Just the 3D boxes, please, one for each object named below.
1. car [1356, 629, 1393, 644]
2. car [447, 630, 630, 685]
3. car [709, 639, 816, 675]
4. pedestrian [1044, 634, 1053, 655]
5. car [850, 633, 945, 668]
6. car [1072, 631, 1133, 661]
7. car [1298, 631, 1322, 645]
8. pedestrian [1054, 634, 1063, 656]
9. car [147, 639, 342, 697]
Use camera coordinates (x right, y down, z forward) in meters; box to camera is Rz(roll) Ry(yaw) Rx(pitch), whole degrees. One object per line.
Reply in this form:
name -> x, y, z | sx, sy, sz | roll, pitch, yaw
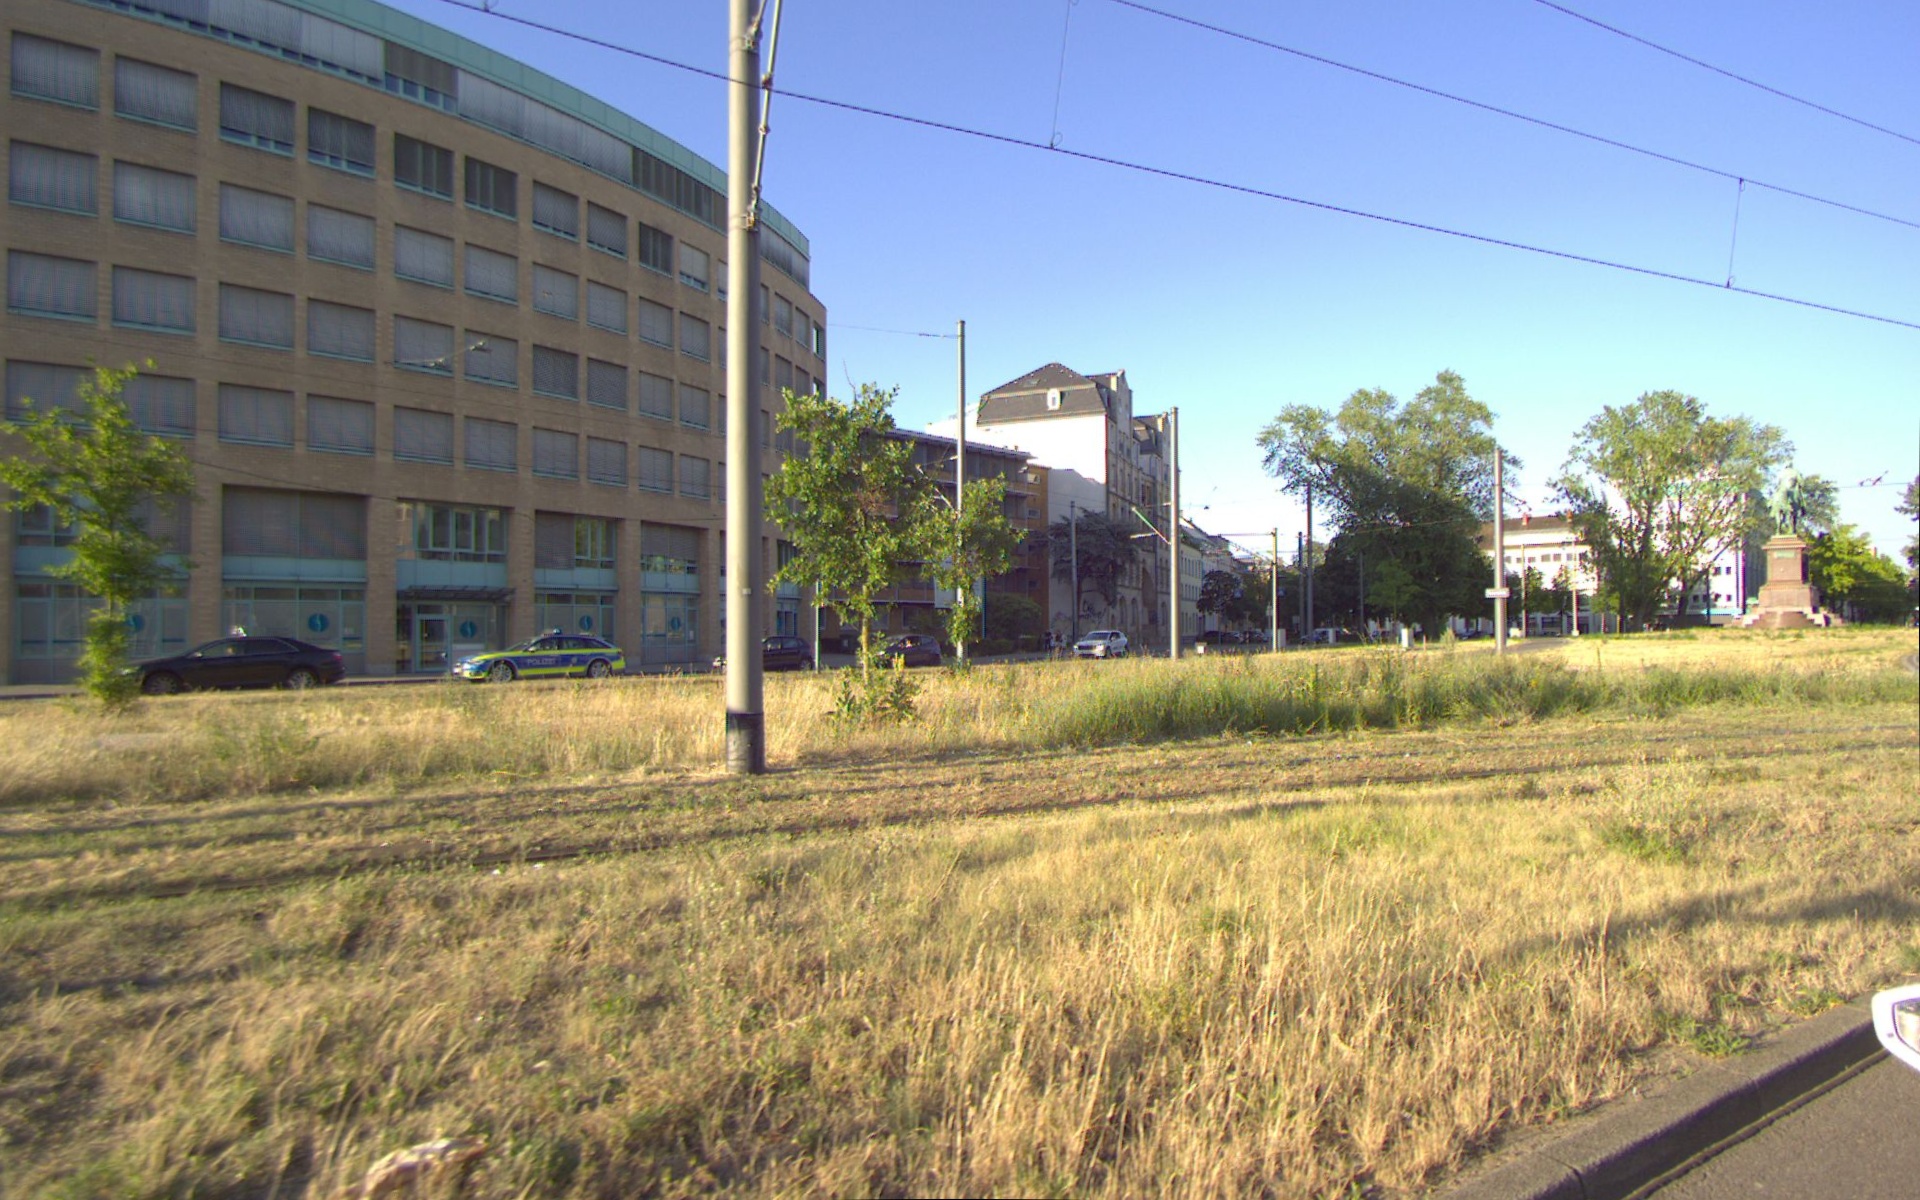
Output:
car -> 41.436, 3.660, 100.361 | 3.477, 1.372, 1.543 | 0, -1, -29
car -> -12.571, 1.674, 30.213 | 1.869, 1.500, 4.754 | -2, -2, 43
car -> -7.025, 1.997, 35.899 | 1.504, 1.169, 3.577 | -2, -2, 44
pedestrian -> 6.081, 3.065, 68.803 | 0.482, 1.449, 0.409 | 1, -2, -45
car -> -2.491, 2.013, 40.603 | 3.715, 1.298, 1.630 | 1, -2, -44
car -> 7.749, 2.474, 54.343 | 1.745, 1.502, 4.301 | -1, -2, 30
car -> 33.091, 3.564, 94.911 | 1.543, 1.275, 3.722 | -2, -2, 30
pedestrian -> 6.693, 3.065, 68.354 | 0.482, 1.449, 0.409 | 1, -2, -45
car -> -17.801, 1.638, 25.085 | 3.764, 1.299, 1.707 | 1, -2, -45
